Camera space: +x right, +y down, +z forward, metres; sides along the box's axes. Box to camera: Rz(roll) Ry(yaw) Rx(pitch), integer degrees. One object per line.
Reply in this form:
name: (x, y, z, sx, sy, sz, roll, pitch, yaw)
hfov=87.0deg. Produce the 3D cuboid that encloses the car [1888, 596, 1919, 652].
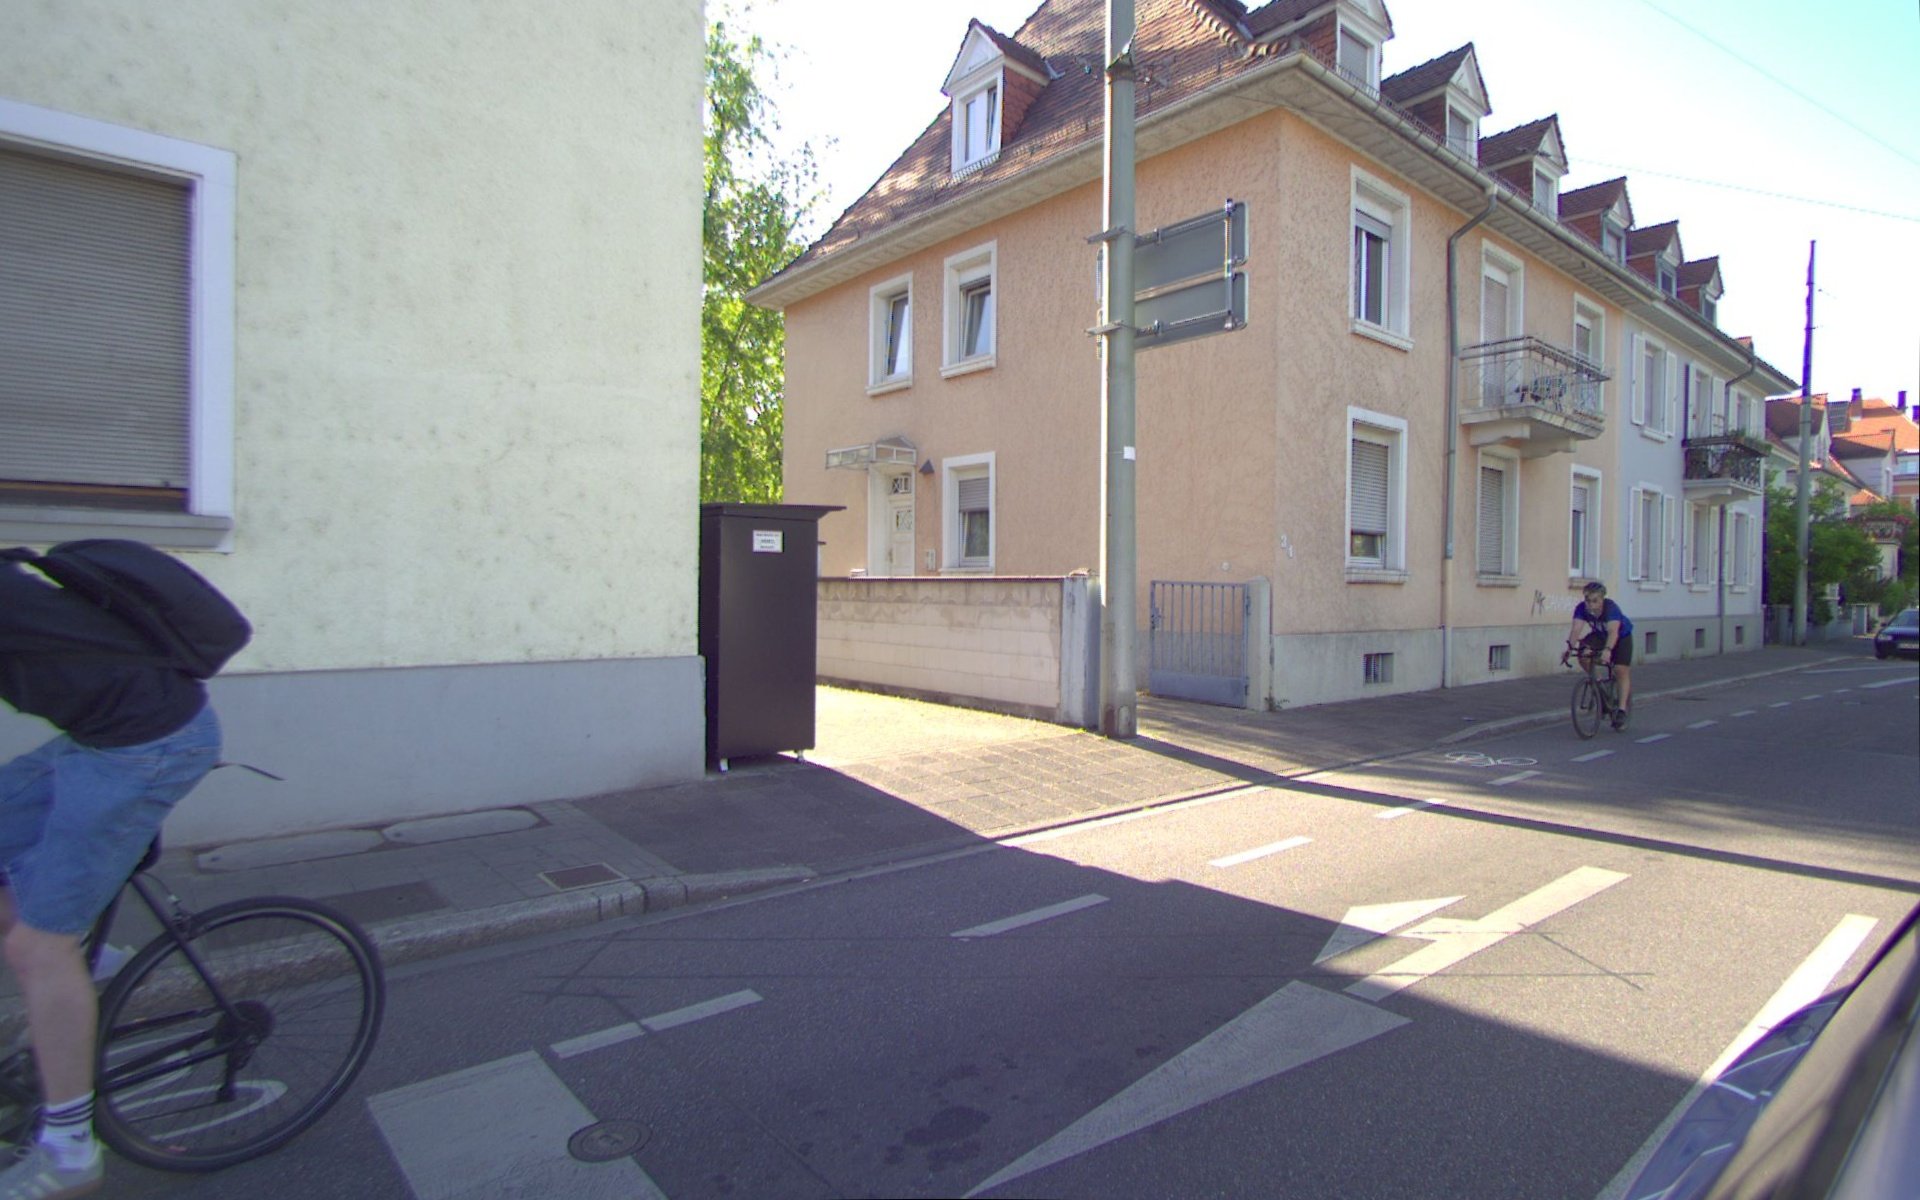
car: (26.714, 0.629, 27.397, 4.347, 1.425, 1.866, 0, 1, -41)

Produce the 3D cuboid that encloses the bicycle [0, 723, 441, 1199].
bicycle: (-2.188, 0.893, 2.290, 1.727, 1.029, 0.533, 0, 1, -41)

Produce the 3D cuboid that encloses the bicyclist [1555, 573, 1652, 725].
bicyclist: (7.234, 0.519, 11.377, 0.997, 1.637, 0.562, 0, 1, -35)

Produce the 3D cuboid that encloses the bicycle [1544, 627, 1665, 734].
bicycle: (7.283, 0.864, 11.410, 1.761, 1.076, 0.551, 0, 0, -37)

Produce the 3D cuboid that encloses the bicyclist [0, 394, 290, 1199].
bicyclist: (-2.185, 0.451, 2.280, 1.065, 1.752, 0.560, 0, 0, -41)
